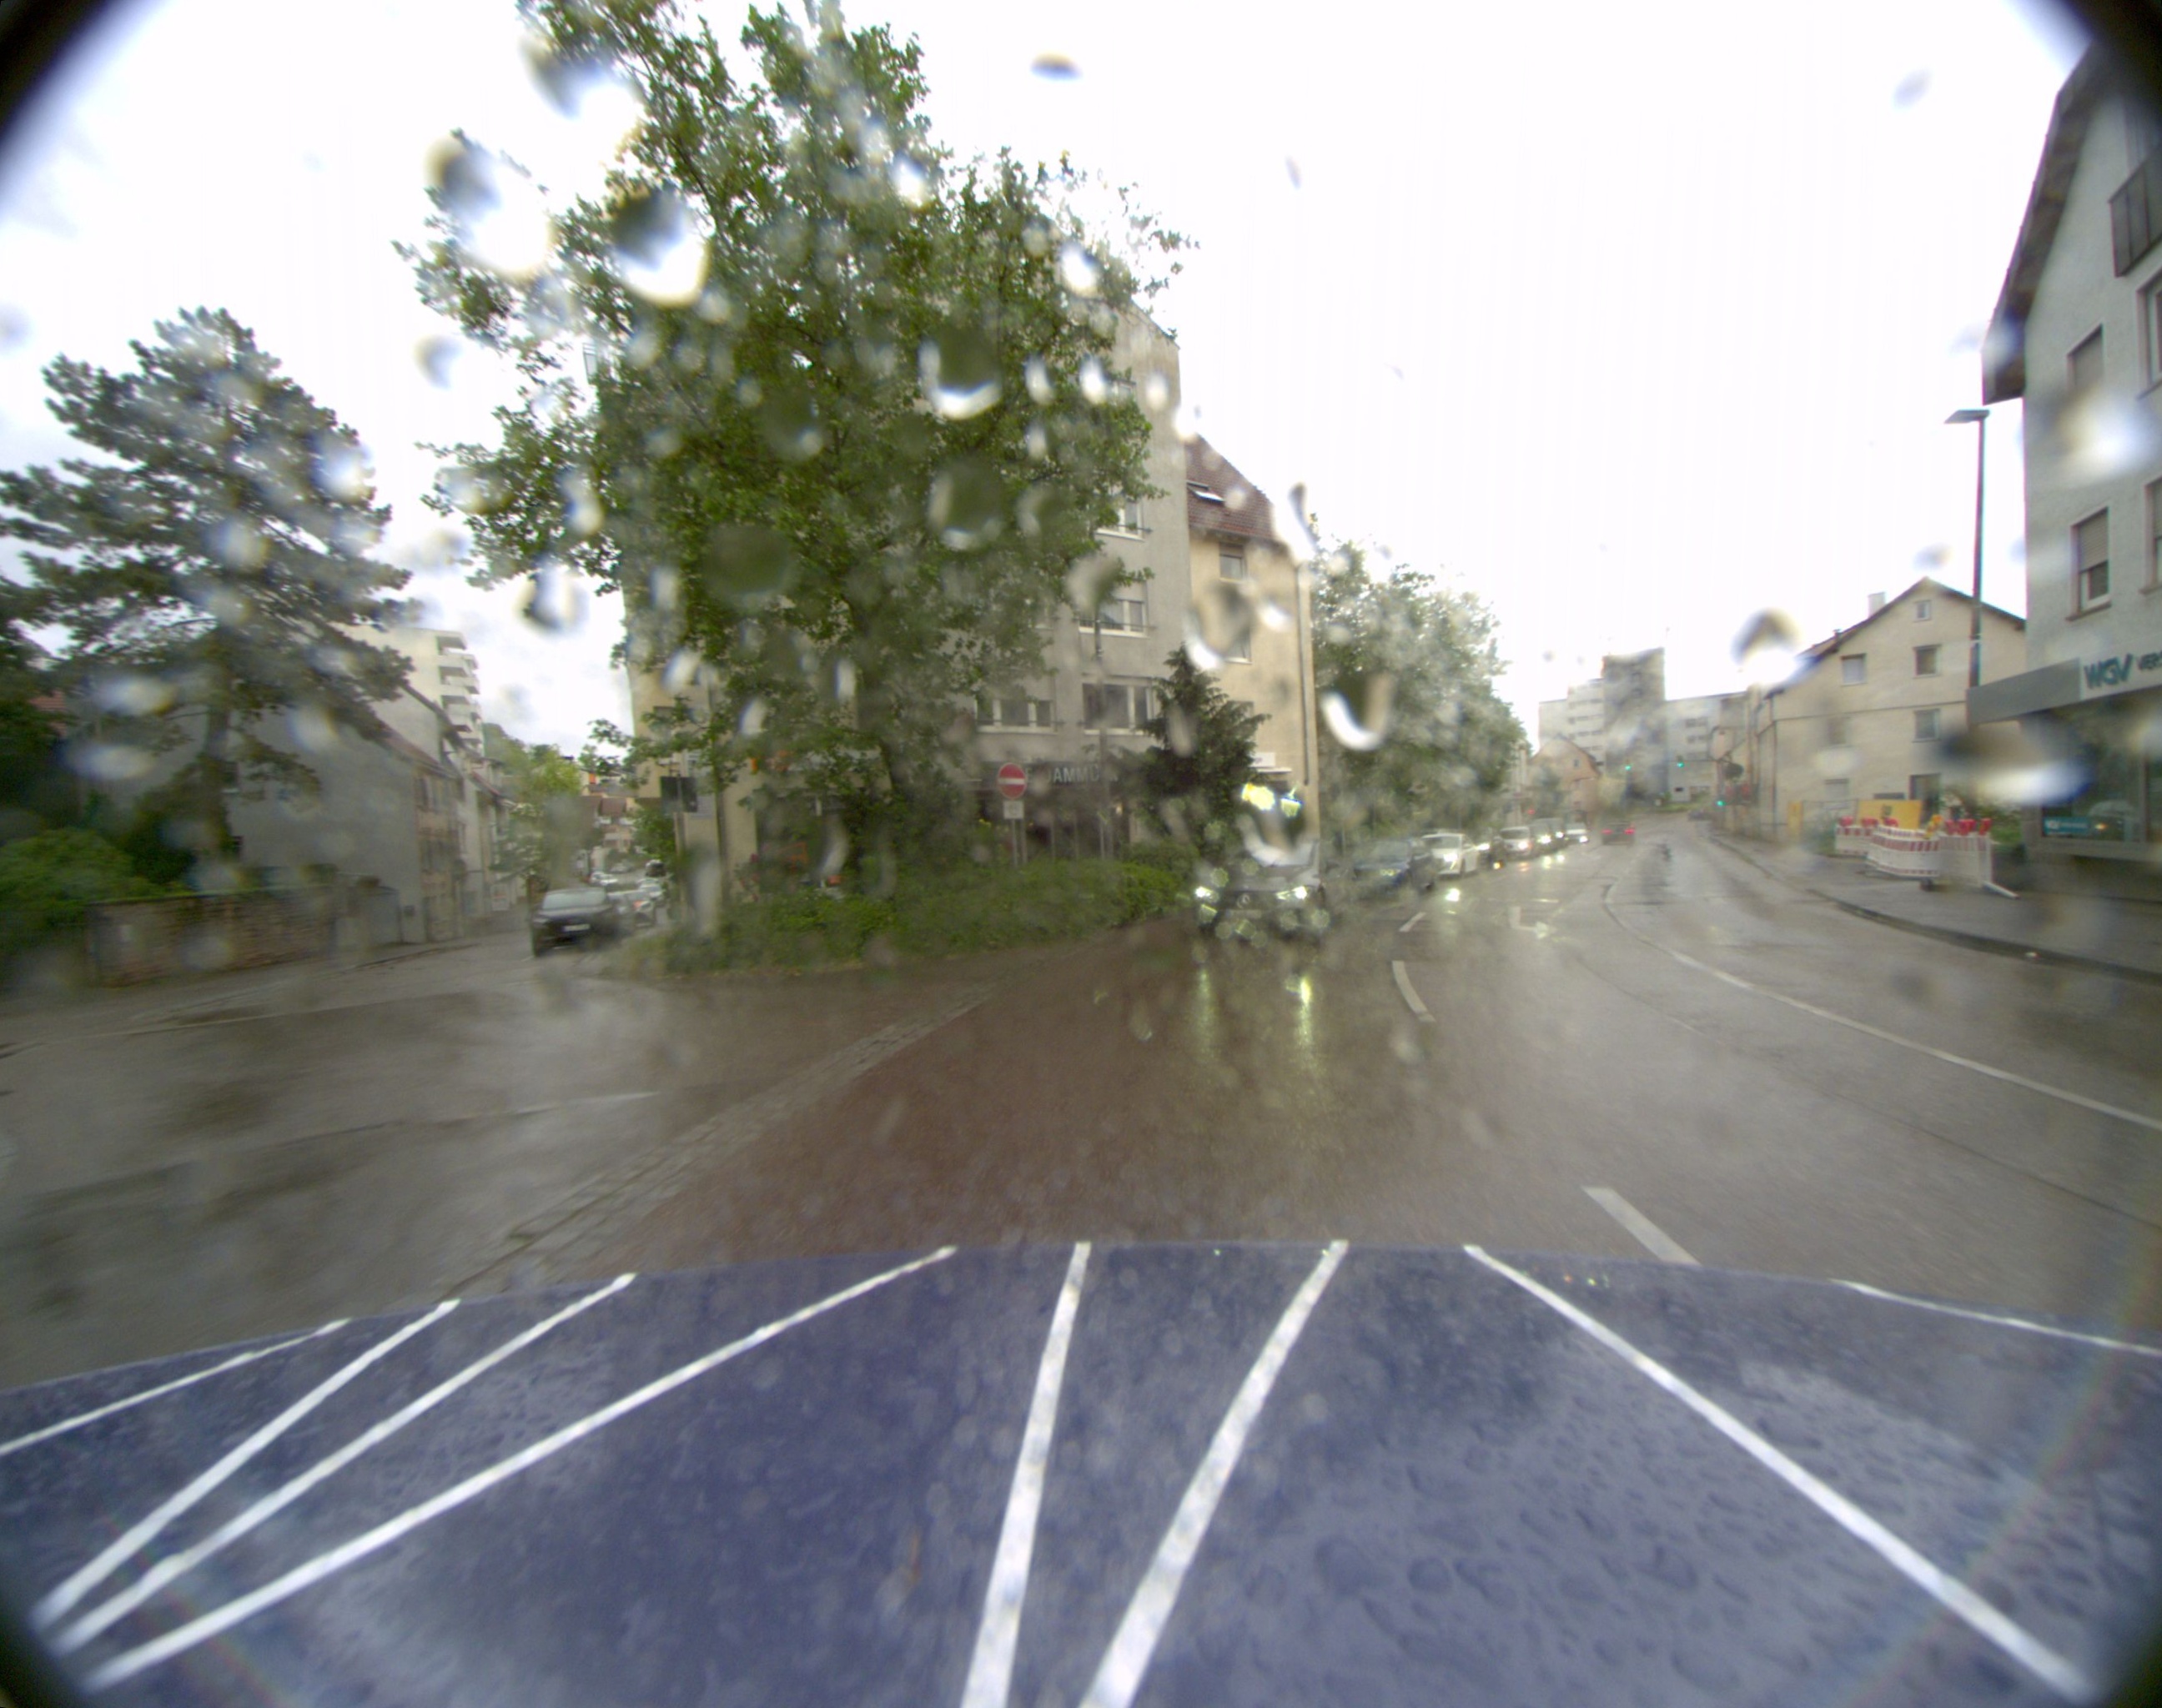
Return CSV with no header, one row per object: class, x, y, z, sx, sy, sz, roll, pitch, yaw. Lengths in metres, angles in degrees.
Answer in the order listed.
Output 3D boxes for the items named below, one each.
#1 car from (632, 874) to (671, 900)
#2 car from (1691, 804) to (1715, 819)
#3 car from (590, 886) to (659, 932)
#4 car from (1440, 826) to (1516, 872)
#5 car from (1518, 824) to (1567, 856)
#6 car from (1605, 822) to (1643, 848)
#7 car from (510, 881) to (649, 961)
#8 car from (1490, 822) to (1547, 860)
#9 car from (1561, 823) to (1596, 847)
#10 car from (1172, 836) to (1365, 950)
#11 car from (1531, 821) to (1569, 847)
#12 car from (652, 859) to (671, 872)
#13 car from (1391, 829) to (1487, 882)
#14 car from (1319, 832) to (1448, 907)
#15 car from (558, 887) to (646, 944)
car,-28.851,2.209,51.138,2.002,1.564,3.992,-3,-1,-27
car,78.077,-5.312,95.369,3.802,1.702,1.824,-5,3,-43
car,-18.015,2.126,30.167,2.002,1.564,3.992,-3,-1,-27
car,15.763,-0.231,30.094,1.810,1.556,4.007,-4,0,39
car,25.434,-0.808,41.800,1.828,1.543,4.007,-4,0,37
car,35.894,-1.264,50.202,1.810,1.556,4.008,-3,0,38
car,-12.719,1.647,19.573,2.001,1.641,3.995,-5,-1,-21
car,20.988,-0.652,36.406,1.841,1.612,4.007,-2,1,37
car,36.873,-1.398,56.347,1.995,1.542,4.008,-3,-1,33
car,3.343,0.522,12.833,1.995,1.484,4.320,-2,1,30
car,30.131,-1.294,48.801,1.849,1.469,4.007,-2,1,35
car,-57.169,1.551,103.507,2.003,1.564,3.991,-3,-1,-32
car,11.852,0.026,24.997,1.995,1.445,4.007,-3,1,38
car,7.528,0.303,18.658,1.770,1.524,4.385,-2,1,38
car,-15.513,1.924,24.793,2.002,1.564,3.992,-3,-1,-27
